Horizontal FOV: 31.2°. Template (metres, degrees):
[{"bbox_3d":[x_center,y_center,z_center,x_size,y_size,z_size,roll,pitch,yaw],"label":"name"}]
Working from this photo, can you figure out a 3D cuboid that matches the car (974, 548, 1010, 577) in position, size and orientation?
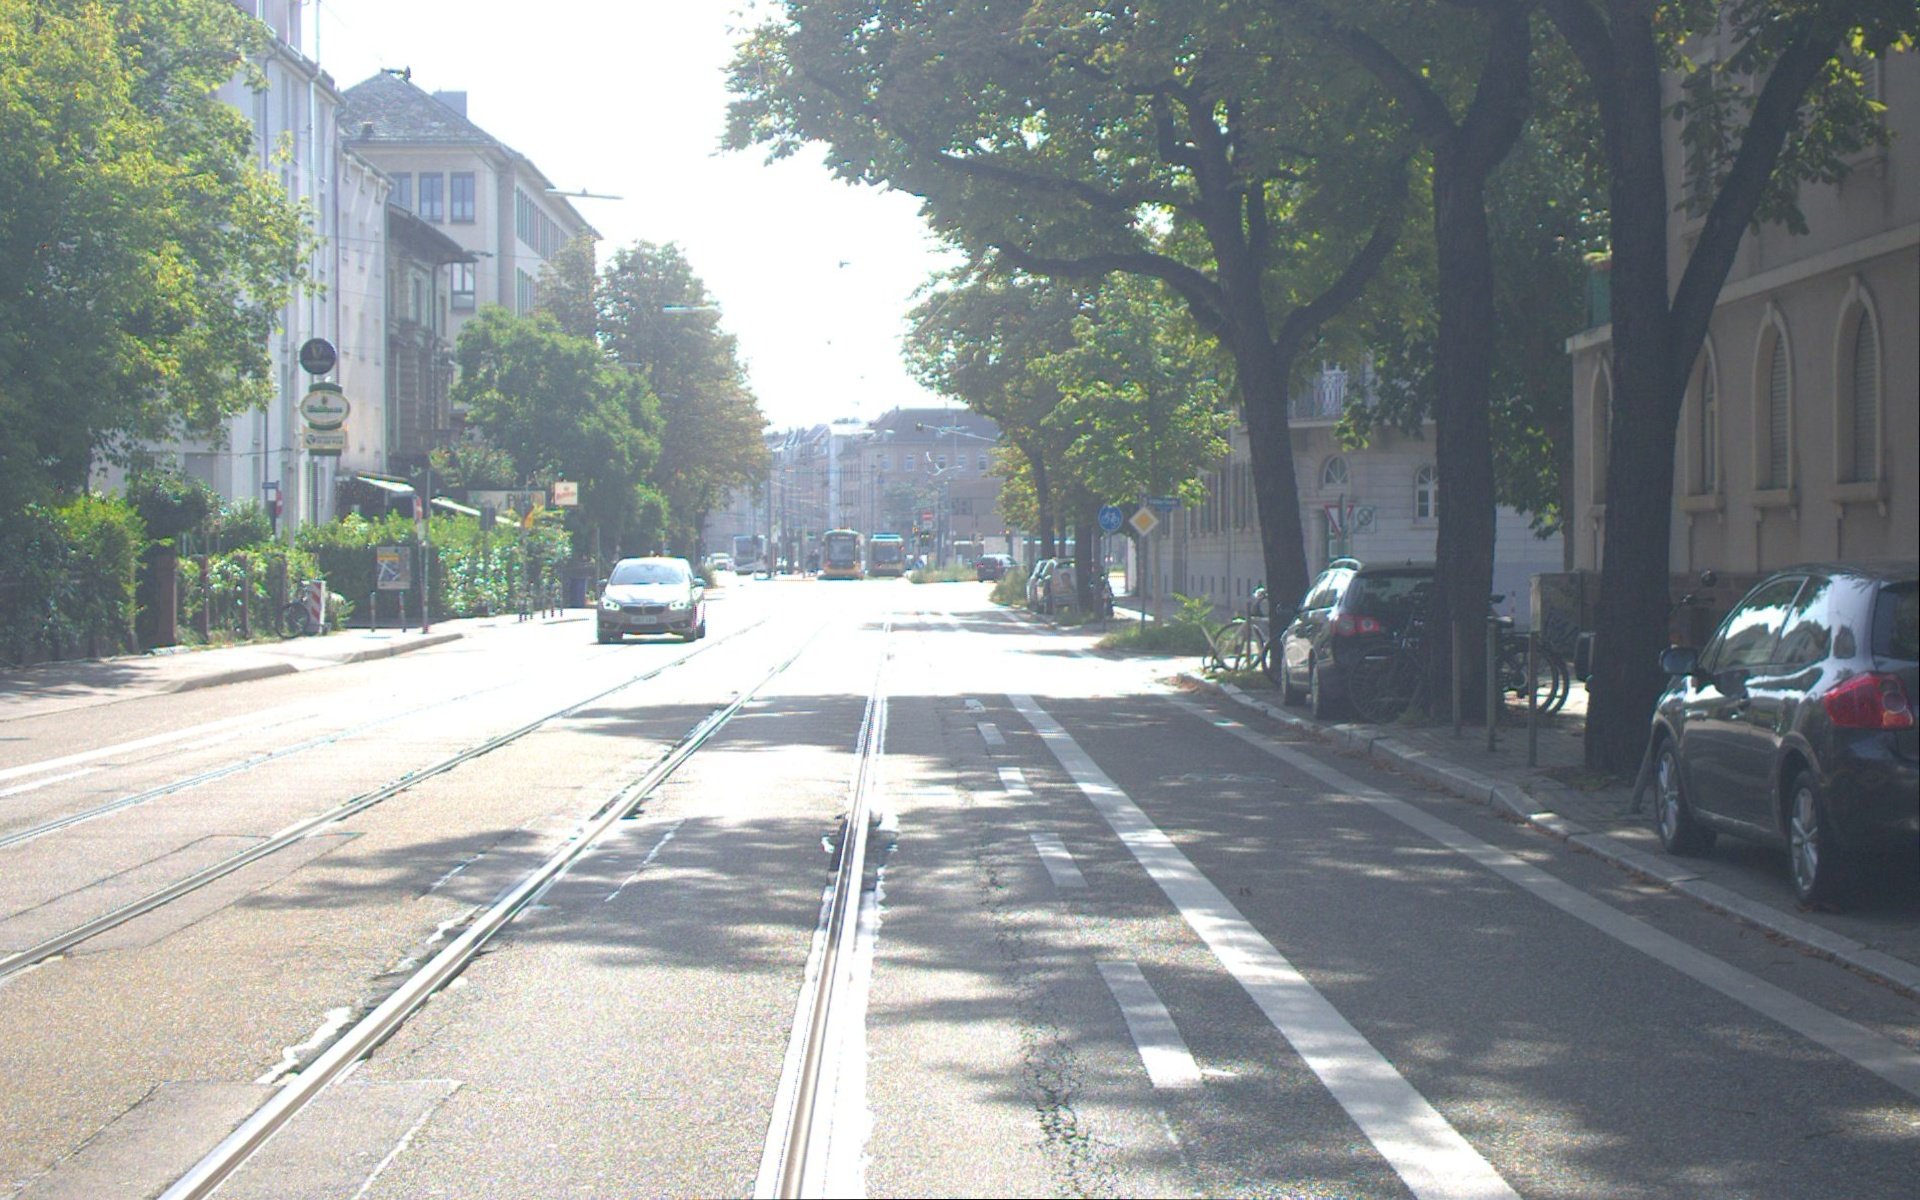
[{"bbox_3d":[2.045,-2.351,216.521,1.994,1.777,4.000,2,1,3],"label":"car"}]

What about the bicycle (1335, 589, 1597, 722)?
[{"bbox_3d":[4.259,0.462,28.993,2.106,1.101,0.563,0,1,-8],"label":"bicycle"}]

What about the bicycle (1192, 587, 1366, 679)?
[{"bbox_3d":[4.045,0.415,43.652,2.106,1.101,0.616,-1,1,-2],"label":"bicycle"}]

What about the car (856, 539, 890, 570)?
[{"bbox_3d":[-5.750,-3.015,227.531,1.993,2.007,4.000,2,1,2],"label":"car"}]

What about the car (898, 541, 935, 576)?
[{"bbox_3d":[-2.612,-2.522,208.964,1.994,2.007,4.000,2,1,2],"label":"car"}]

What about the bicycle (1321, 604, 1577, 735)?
[{"bbox_3d":[4.193,0.587,29.518,2.106,1.101,0.563,0,1,-8],"label":"bicycle"}]

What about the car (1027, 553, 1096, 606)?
[{"bbox_3d":[2.867,-0.578,97.870,1.772,1.468,3.974,-1,0,-1],"label":"car"}]

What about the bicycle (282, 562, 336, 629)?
[{"bbox_3d":[-12.130,-0.098,64.088,0.561,1.217,2.114,0,1,1],"label":"bicycle"}]

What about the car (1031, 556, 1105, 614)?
[{"bbox_3d":[2.819,-0.388,90.510,1.772,1.468,3.974,-1,0,-1],"label":"car"}]

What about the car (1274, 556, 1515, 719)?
[{"bbox_3d":[4.124,0.340,33.172,1.772,1.468,3.974,-1,0,-1],"label":"car"}]

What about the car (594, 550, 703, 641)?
[{"bbox_3d":[-5.751,-0.102,63.805,1.726,1.632,3.985,0,1,-1],"label":"car"}]

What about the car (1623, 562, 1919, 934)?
[{"bbox_3d":[4.411,0.585,16.148,1.726,1.499,3.985,-1,1,-1],"label":"car"}]
